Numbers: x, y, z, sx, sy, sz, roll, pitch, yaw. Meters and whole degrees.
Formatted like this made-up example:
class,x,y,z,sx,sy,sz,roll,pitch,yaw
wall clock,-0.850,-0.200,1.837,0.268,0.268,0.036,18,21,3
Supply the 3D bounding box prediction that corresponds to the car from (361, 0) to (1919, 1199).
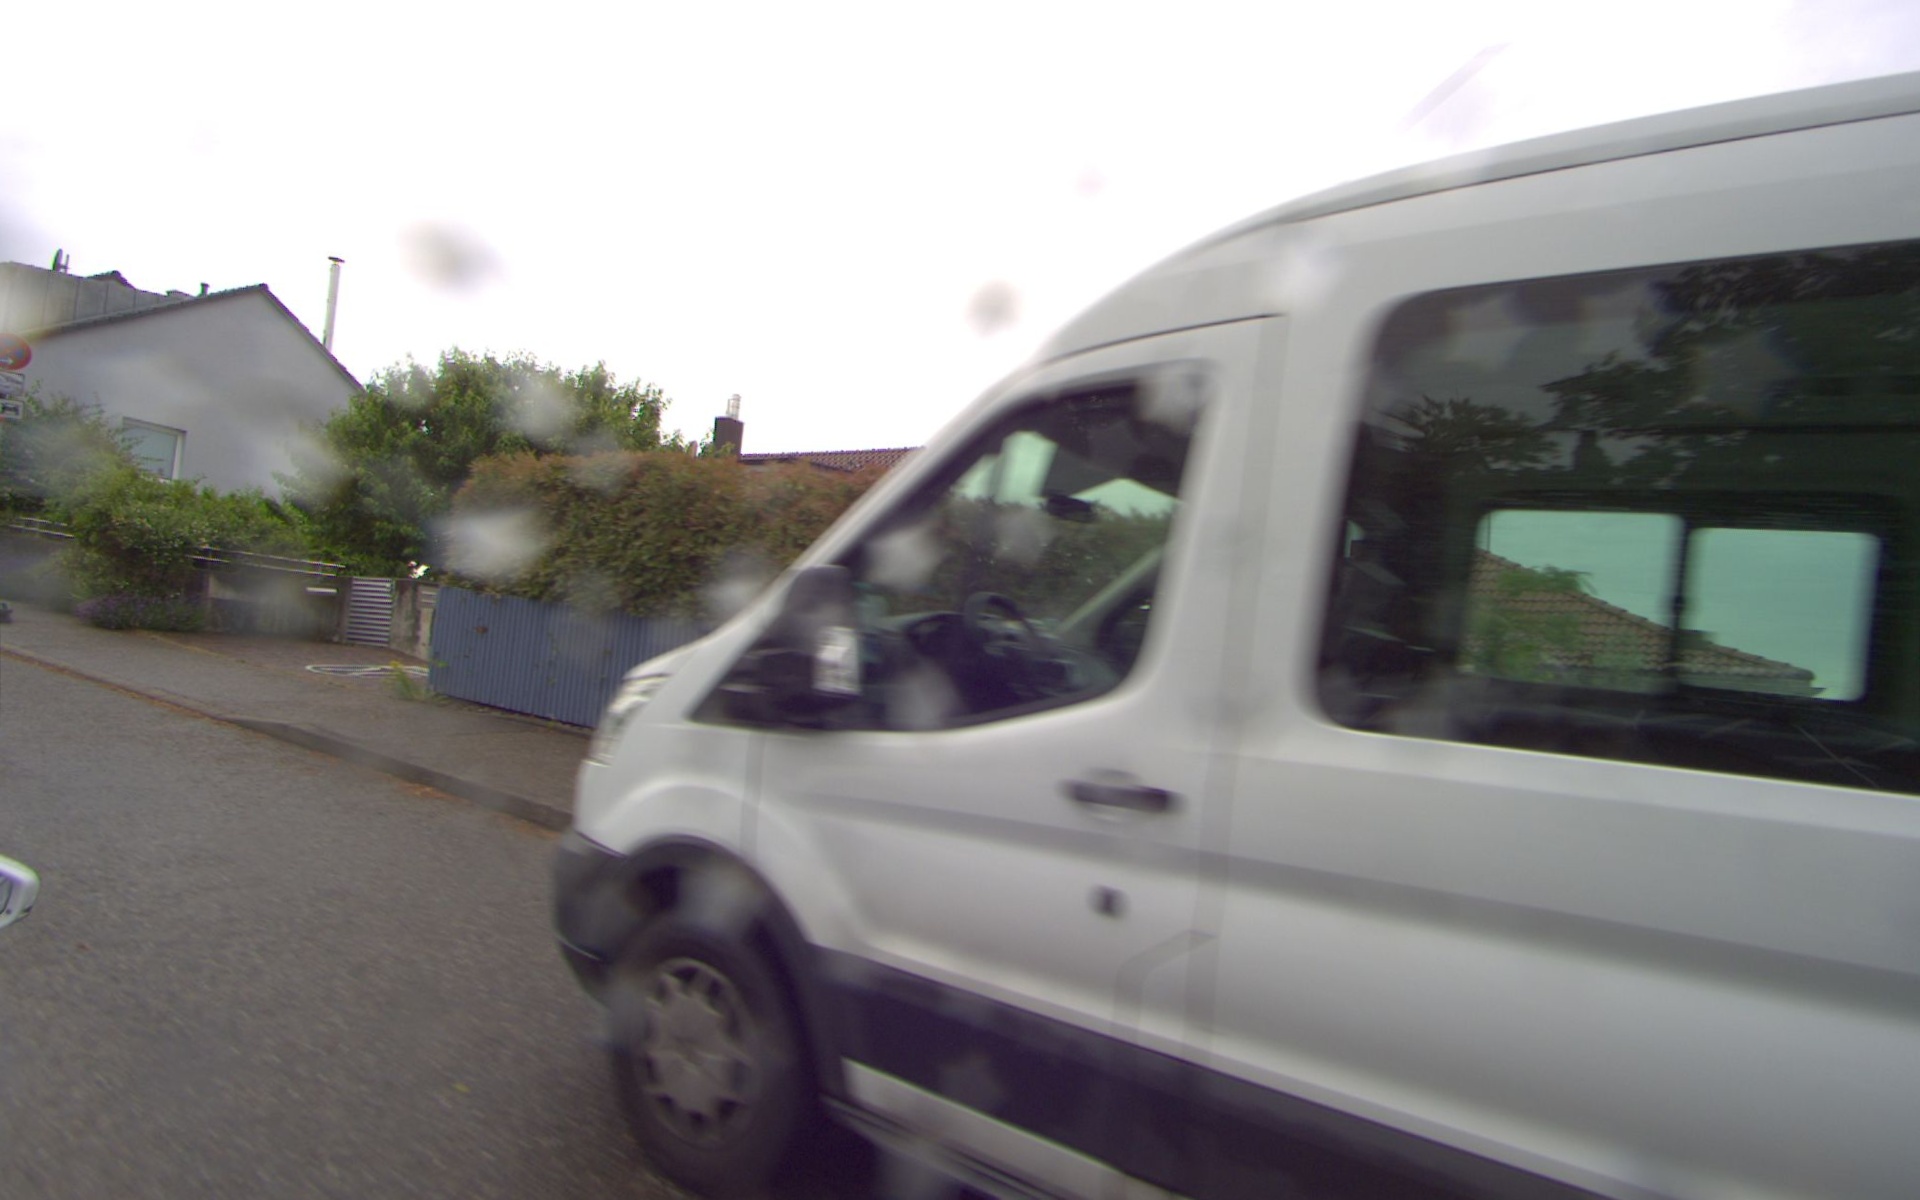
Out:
class,x,y,z,sx,sy,sz,roll,pitch,yaw
car,1.438,0.390,2.302,6.079,2.580,2.075,6,-1,32
